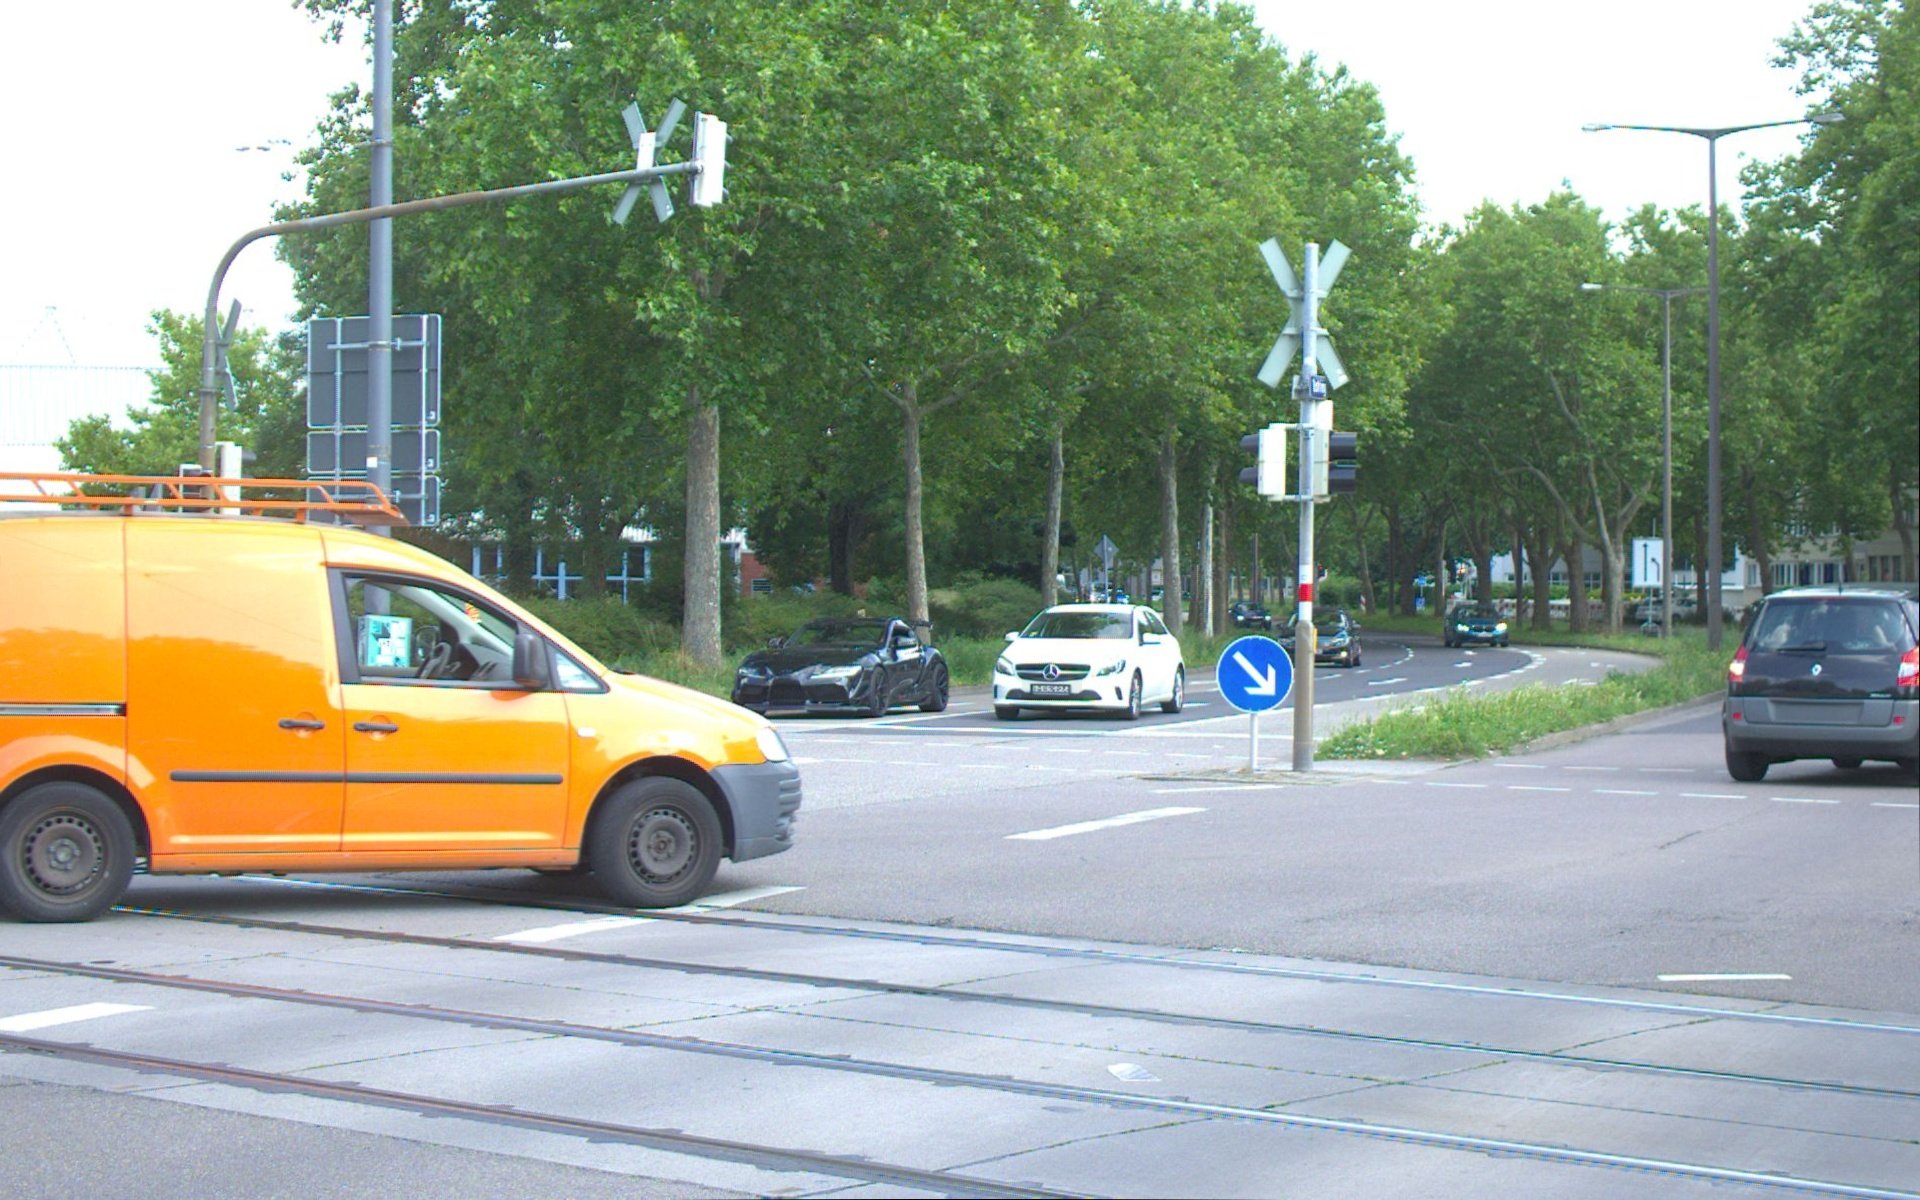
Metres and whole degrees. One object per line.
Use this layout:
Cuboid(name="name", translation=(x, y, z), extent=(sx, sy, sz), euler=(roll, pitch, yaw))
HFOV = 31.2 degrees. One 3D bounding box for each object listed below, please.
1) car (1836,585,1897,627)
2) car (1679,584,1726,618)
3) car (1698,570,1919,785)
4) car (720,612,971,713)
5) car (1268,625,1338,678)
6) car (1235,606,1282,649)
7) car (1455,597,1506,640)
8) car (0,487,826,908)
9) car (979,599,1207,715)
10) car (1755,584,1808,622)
Cuboid(name="car", translation=(37.535, 0.235, 142.451), extent=(1.994, 1.568, 3.999), euler=(0, 2, 8))
Cuboid(name="car", translation=(37.136, 0.035, 172.052), extent=(1.994, 1.568, 3.999), euler=(0, 2, 8))
Cuboid(name="car", translation=(7.634, 0.598, 28.205), extent=(1.733, 1.625, 4.044), euler=(0, 0, 34))
Cuboid(name="car", translation=(-1.418, 0.771, 44.051), extent=(1.637, 1.187, 3.703), euler=(1, 0, 27))
Cuboid(name="car", translation=(8.369, 1.250, 83.856), extent=(1.635, 1.187, 3.707), euler=(1, 0, 6))
Cuboid(name="car", translation=(14.651, 1.344, 168.810), extent=(1.993, 2.007, 4.000), euler=(1, 0, 1))
Cuboid(name="car", translation=(17.720, 0.623, 116.916), extent=(1.657, 1.267, 3.770), euler=(0, 2, 9))
Cuboid(name="car", translation=(-3.004, 0.424, 16.056), extent=(4.354, 1.794, 1.885), euler=(1, 0, -20))
Cuboid(name="car", translation=(1.743, 0.680, 43.633), extent=(1.827, 1.360, 4.134), euler=(1, 0, 18))
Cuboid(name="car", translation=(37.847, 0.124, 158.393), extent=(1.994, 1.568, 3.999), euler=(0, 2, 8))
